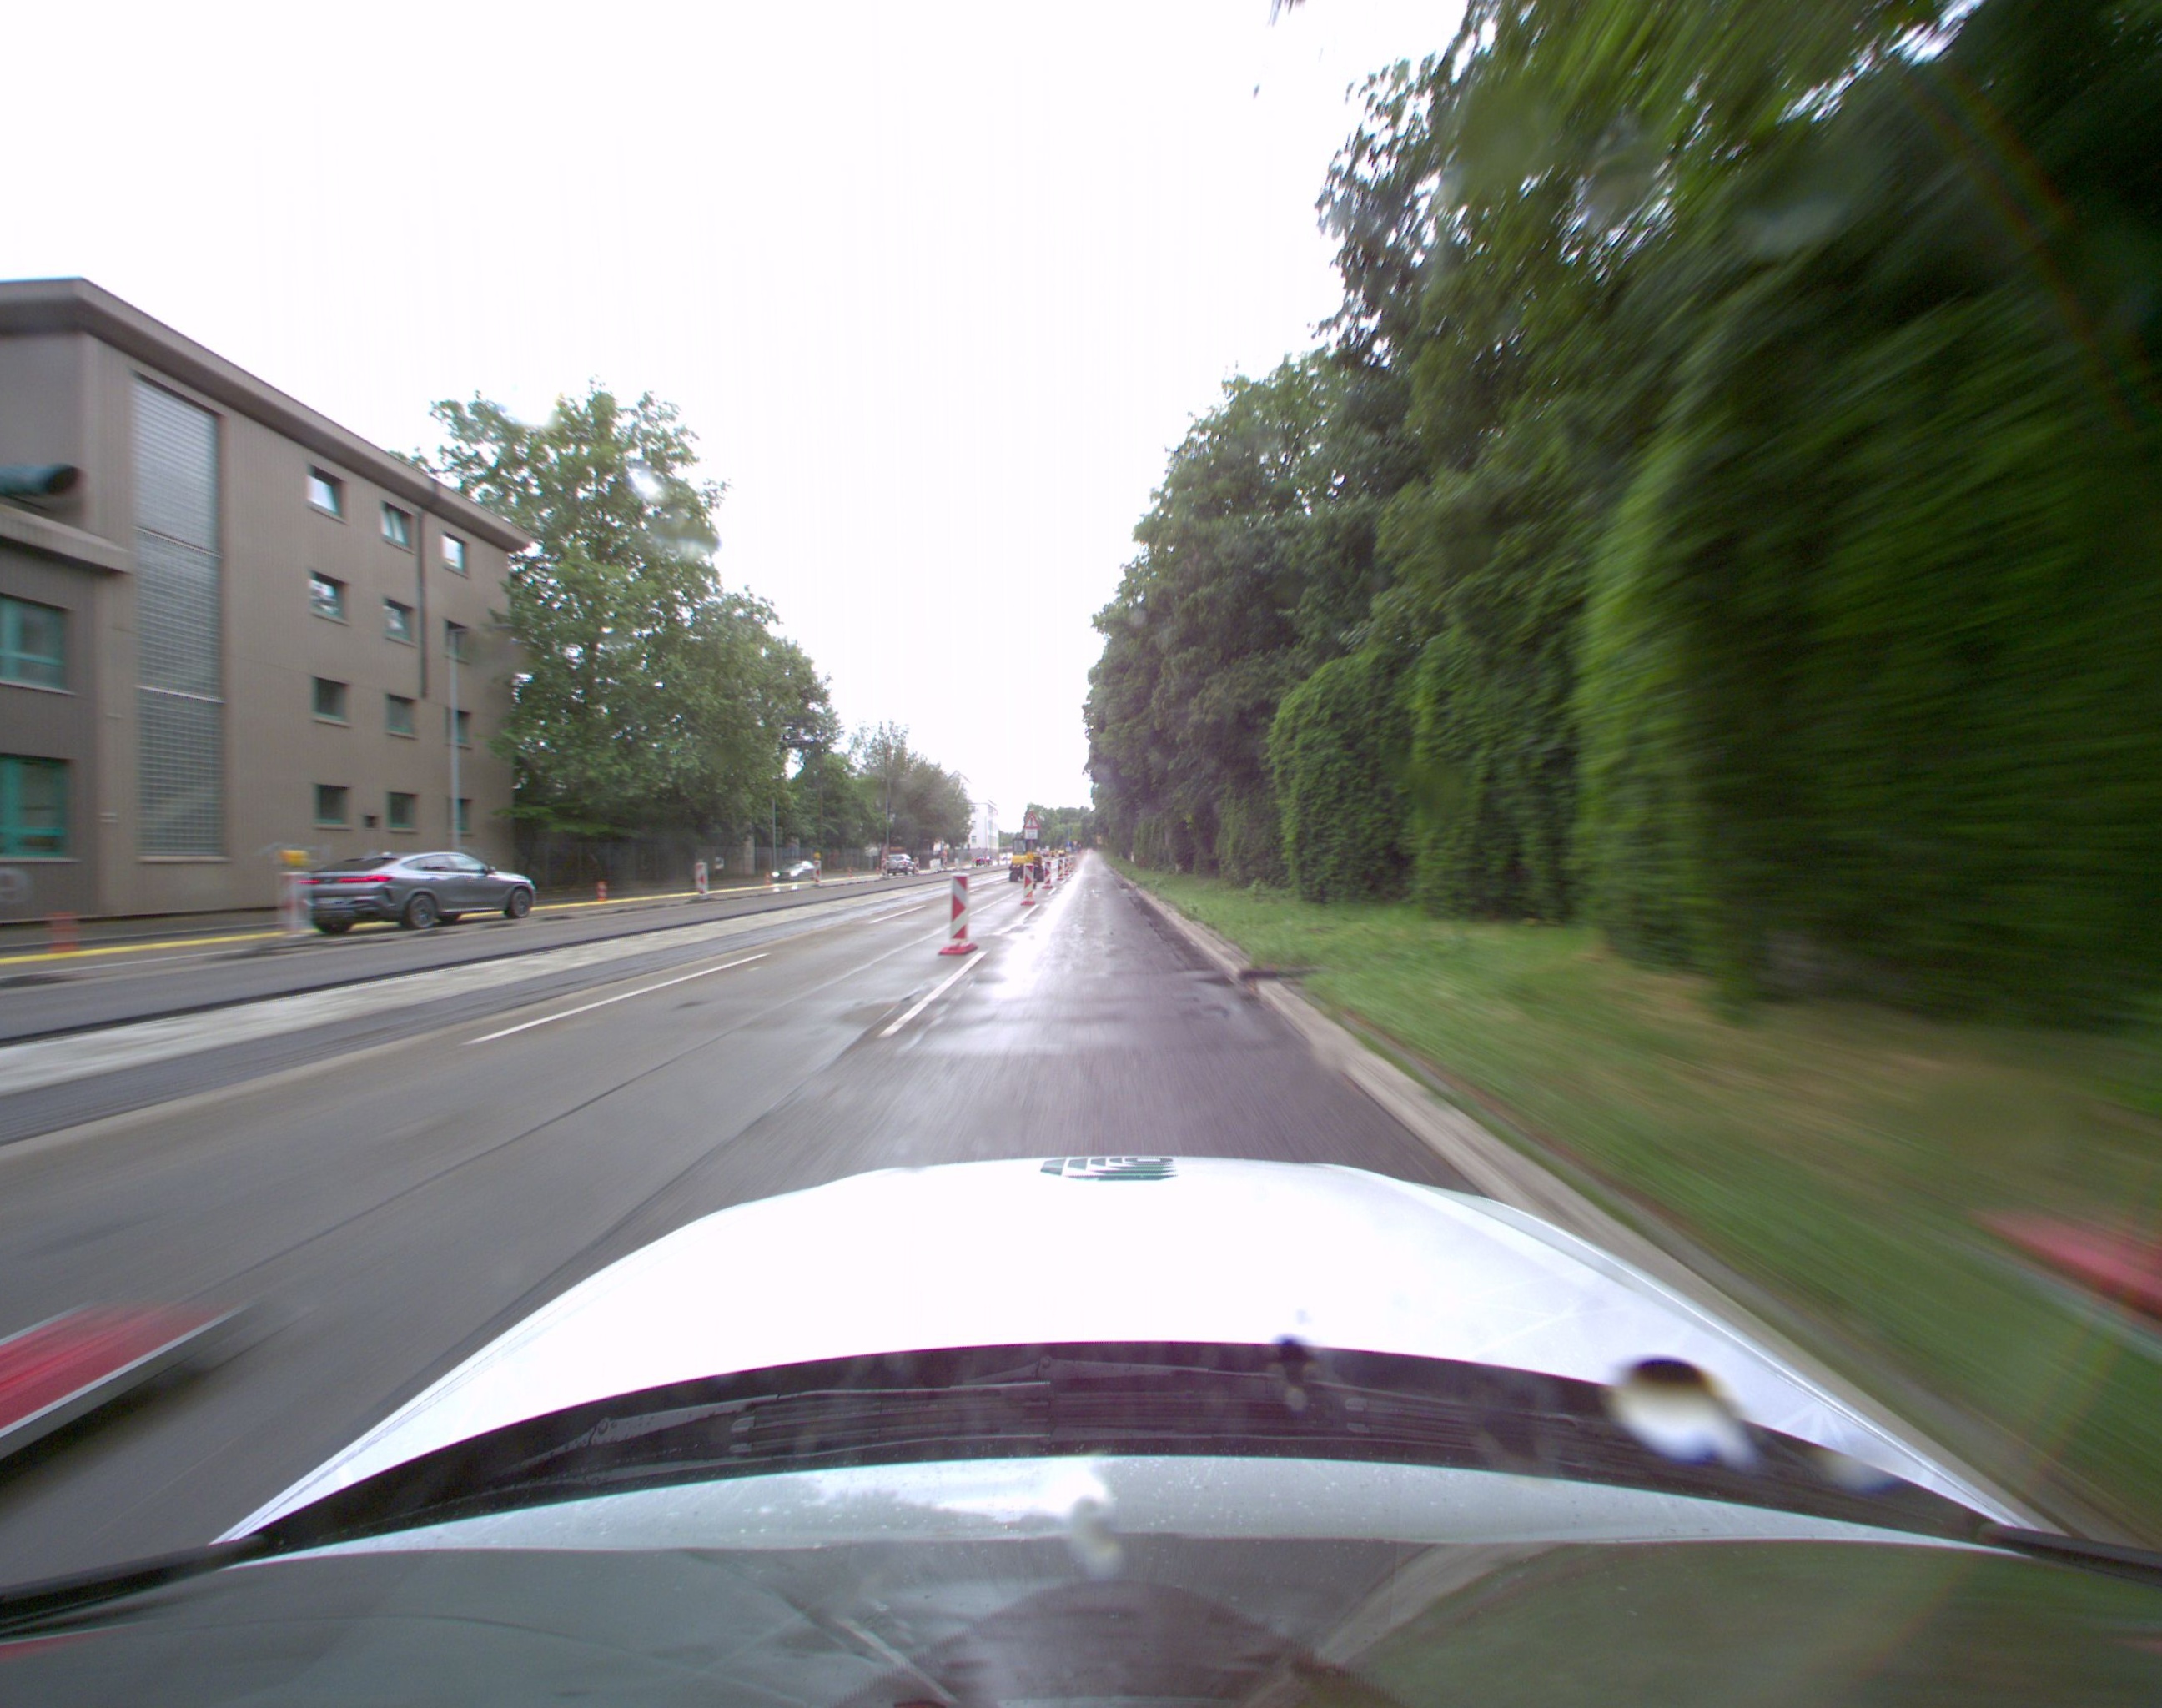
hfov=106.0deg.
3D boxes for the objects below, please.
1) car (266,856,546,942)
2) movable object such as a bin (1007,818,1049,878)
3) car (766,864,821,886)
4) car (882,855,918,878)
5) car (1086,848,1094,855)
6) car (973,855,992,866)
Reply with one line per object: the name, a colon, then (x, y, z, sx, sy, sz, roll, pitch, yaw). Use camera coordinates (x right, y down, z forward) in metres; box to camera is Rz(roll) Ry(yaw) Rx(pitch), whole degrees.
car: (-14.788, 0.882, 18.365, 2.070, 1.613, 5.056, 0, 0, 0)
movable object such as a bin: (-3.121, -0.329, 48.893, 1.986, 3.367, 5.983, 0, 0, 1)
car: (-19.742, 1.397, 56.200, 1.986, 1.348, 4.792, 0, 0, 1)
car: (-14.117, 0.953, 63.714, 1.848, 1.648, 4.000, 0, 0, 1)
car: (2.473, -0.696, 222.278, 1.986, 1.673, 4.001, 0, 0, 1)
car: (-13.405, 0.877, 111.254, 1.987, 1.519, 4.000, 0, 0, 0)
